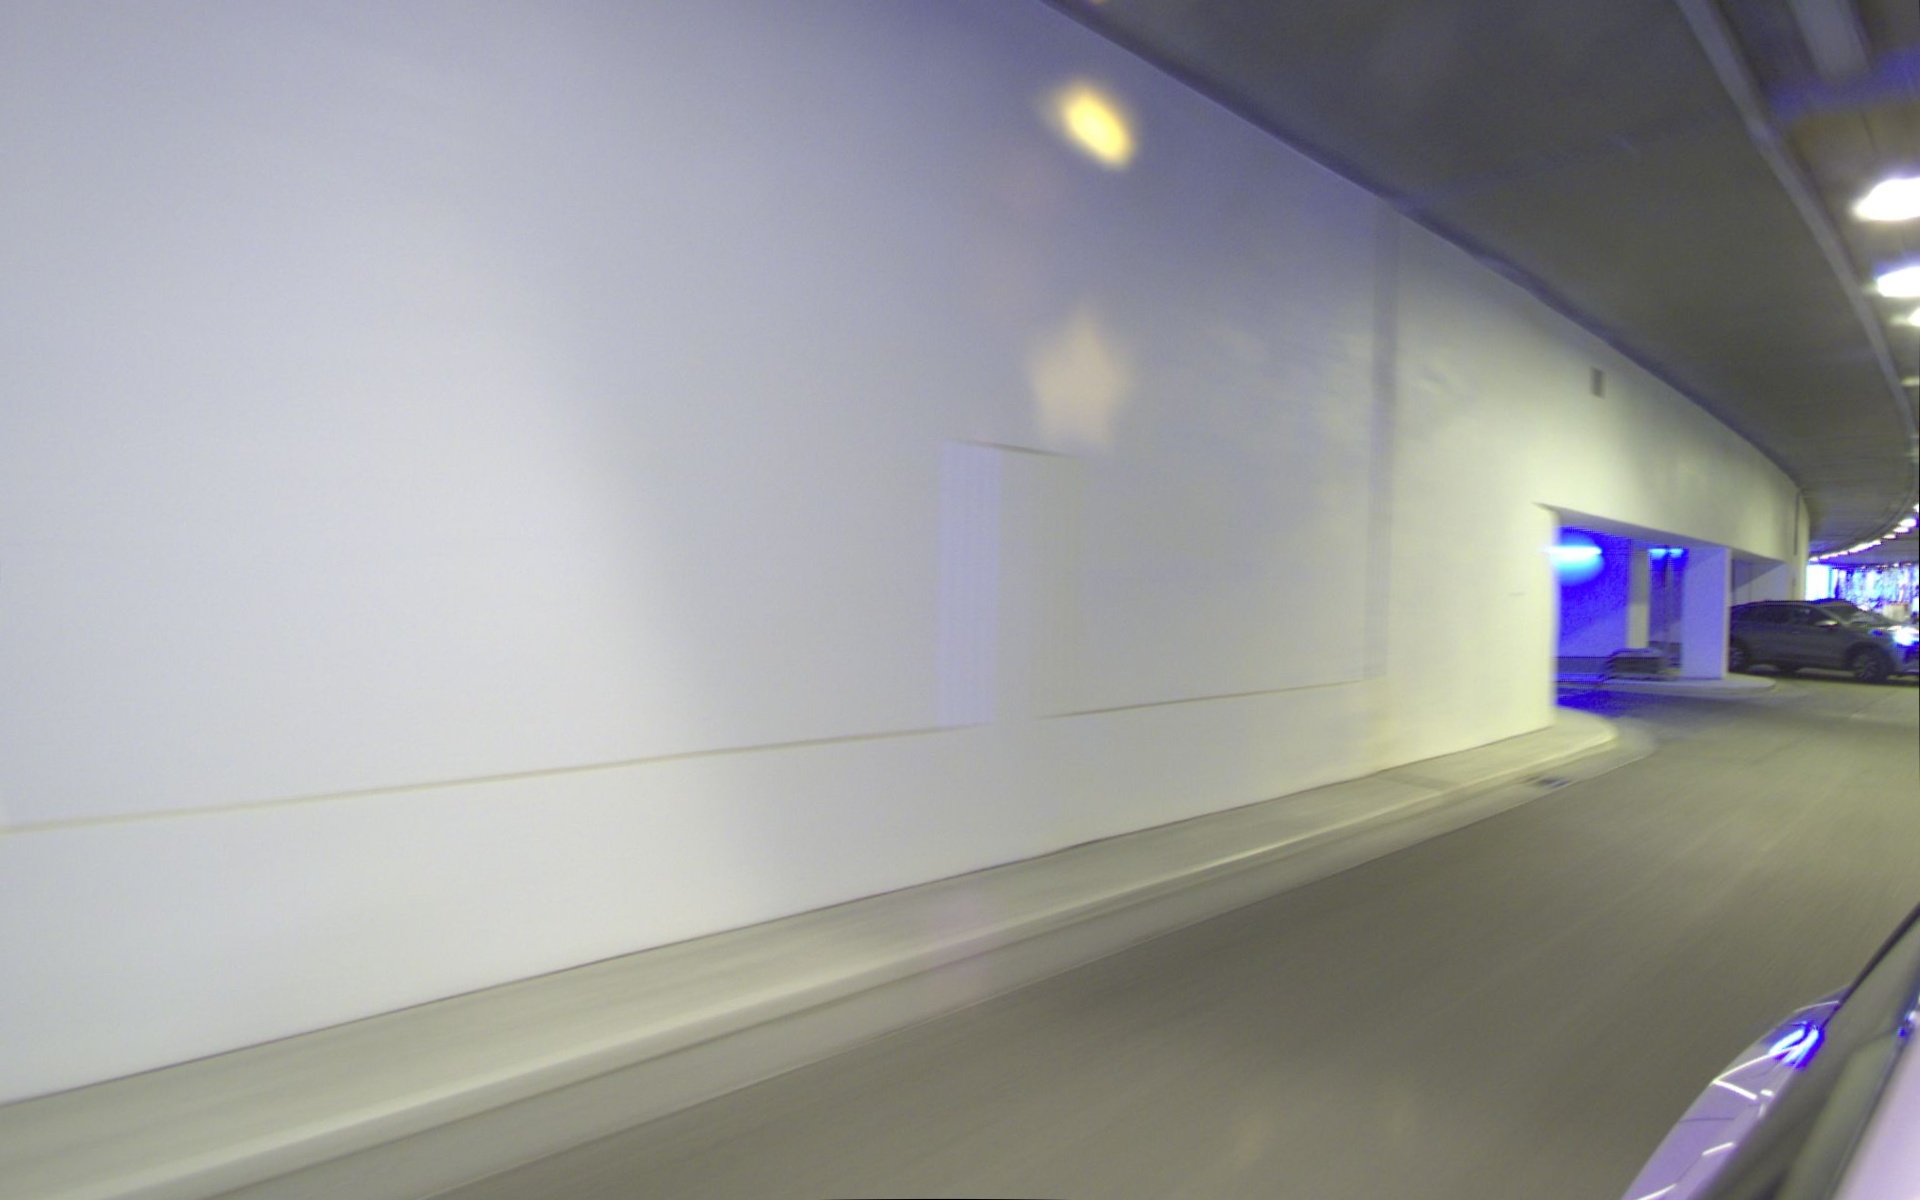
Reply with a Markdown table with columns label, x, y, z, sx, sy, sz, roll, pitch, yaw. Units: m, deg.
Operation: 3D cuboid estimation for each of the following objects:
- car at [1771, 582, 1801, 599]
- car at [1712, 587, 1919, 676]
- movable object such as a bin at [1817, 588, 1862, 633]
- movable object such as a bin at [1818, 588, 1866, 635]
| label | x | y | z | sx | sy | sz | roll | pitch | yaw |
| --- | --- | --- | --- | --- | --- | --- | --- | --- | --- |
| car | 88.115 | -1.074 | 108.003 | 1.986 | 1.775 | 3.953 | 0 | 1 | 33 |
| car | 17.660 | 0.550 | 20.005 | 1.858 | 1.565 | 4.249 | 0 | 1 | -15 |
| movable object such as a bin | 29.358 | 0.327 | 33.807 | 1.096 | 1.463 | 1.303 | 0 | 1 | 41 |
| movable object such as a bin | 28.482 | 0.365 | 32.710 | 1.144 | 1.463 | 1.344 | 0 | 1 | 41 |
